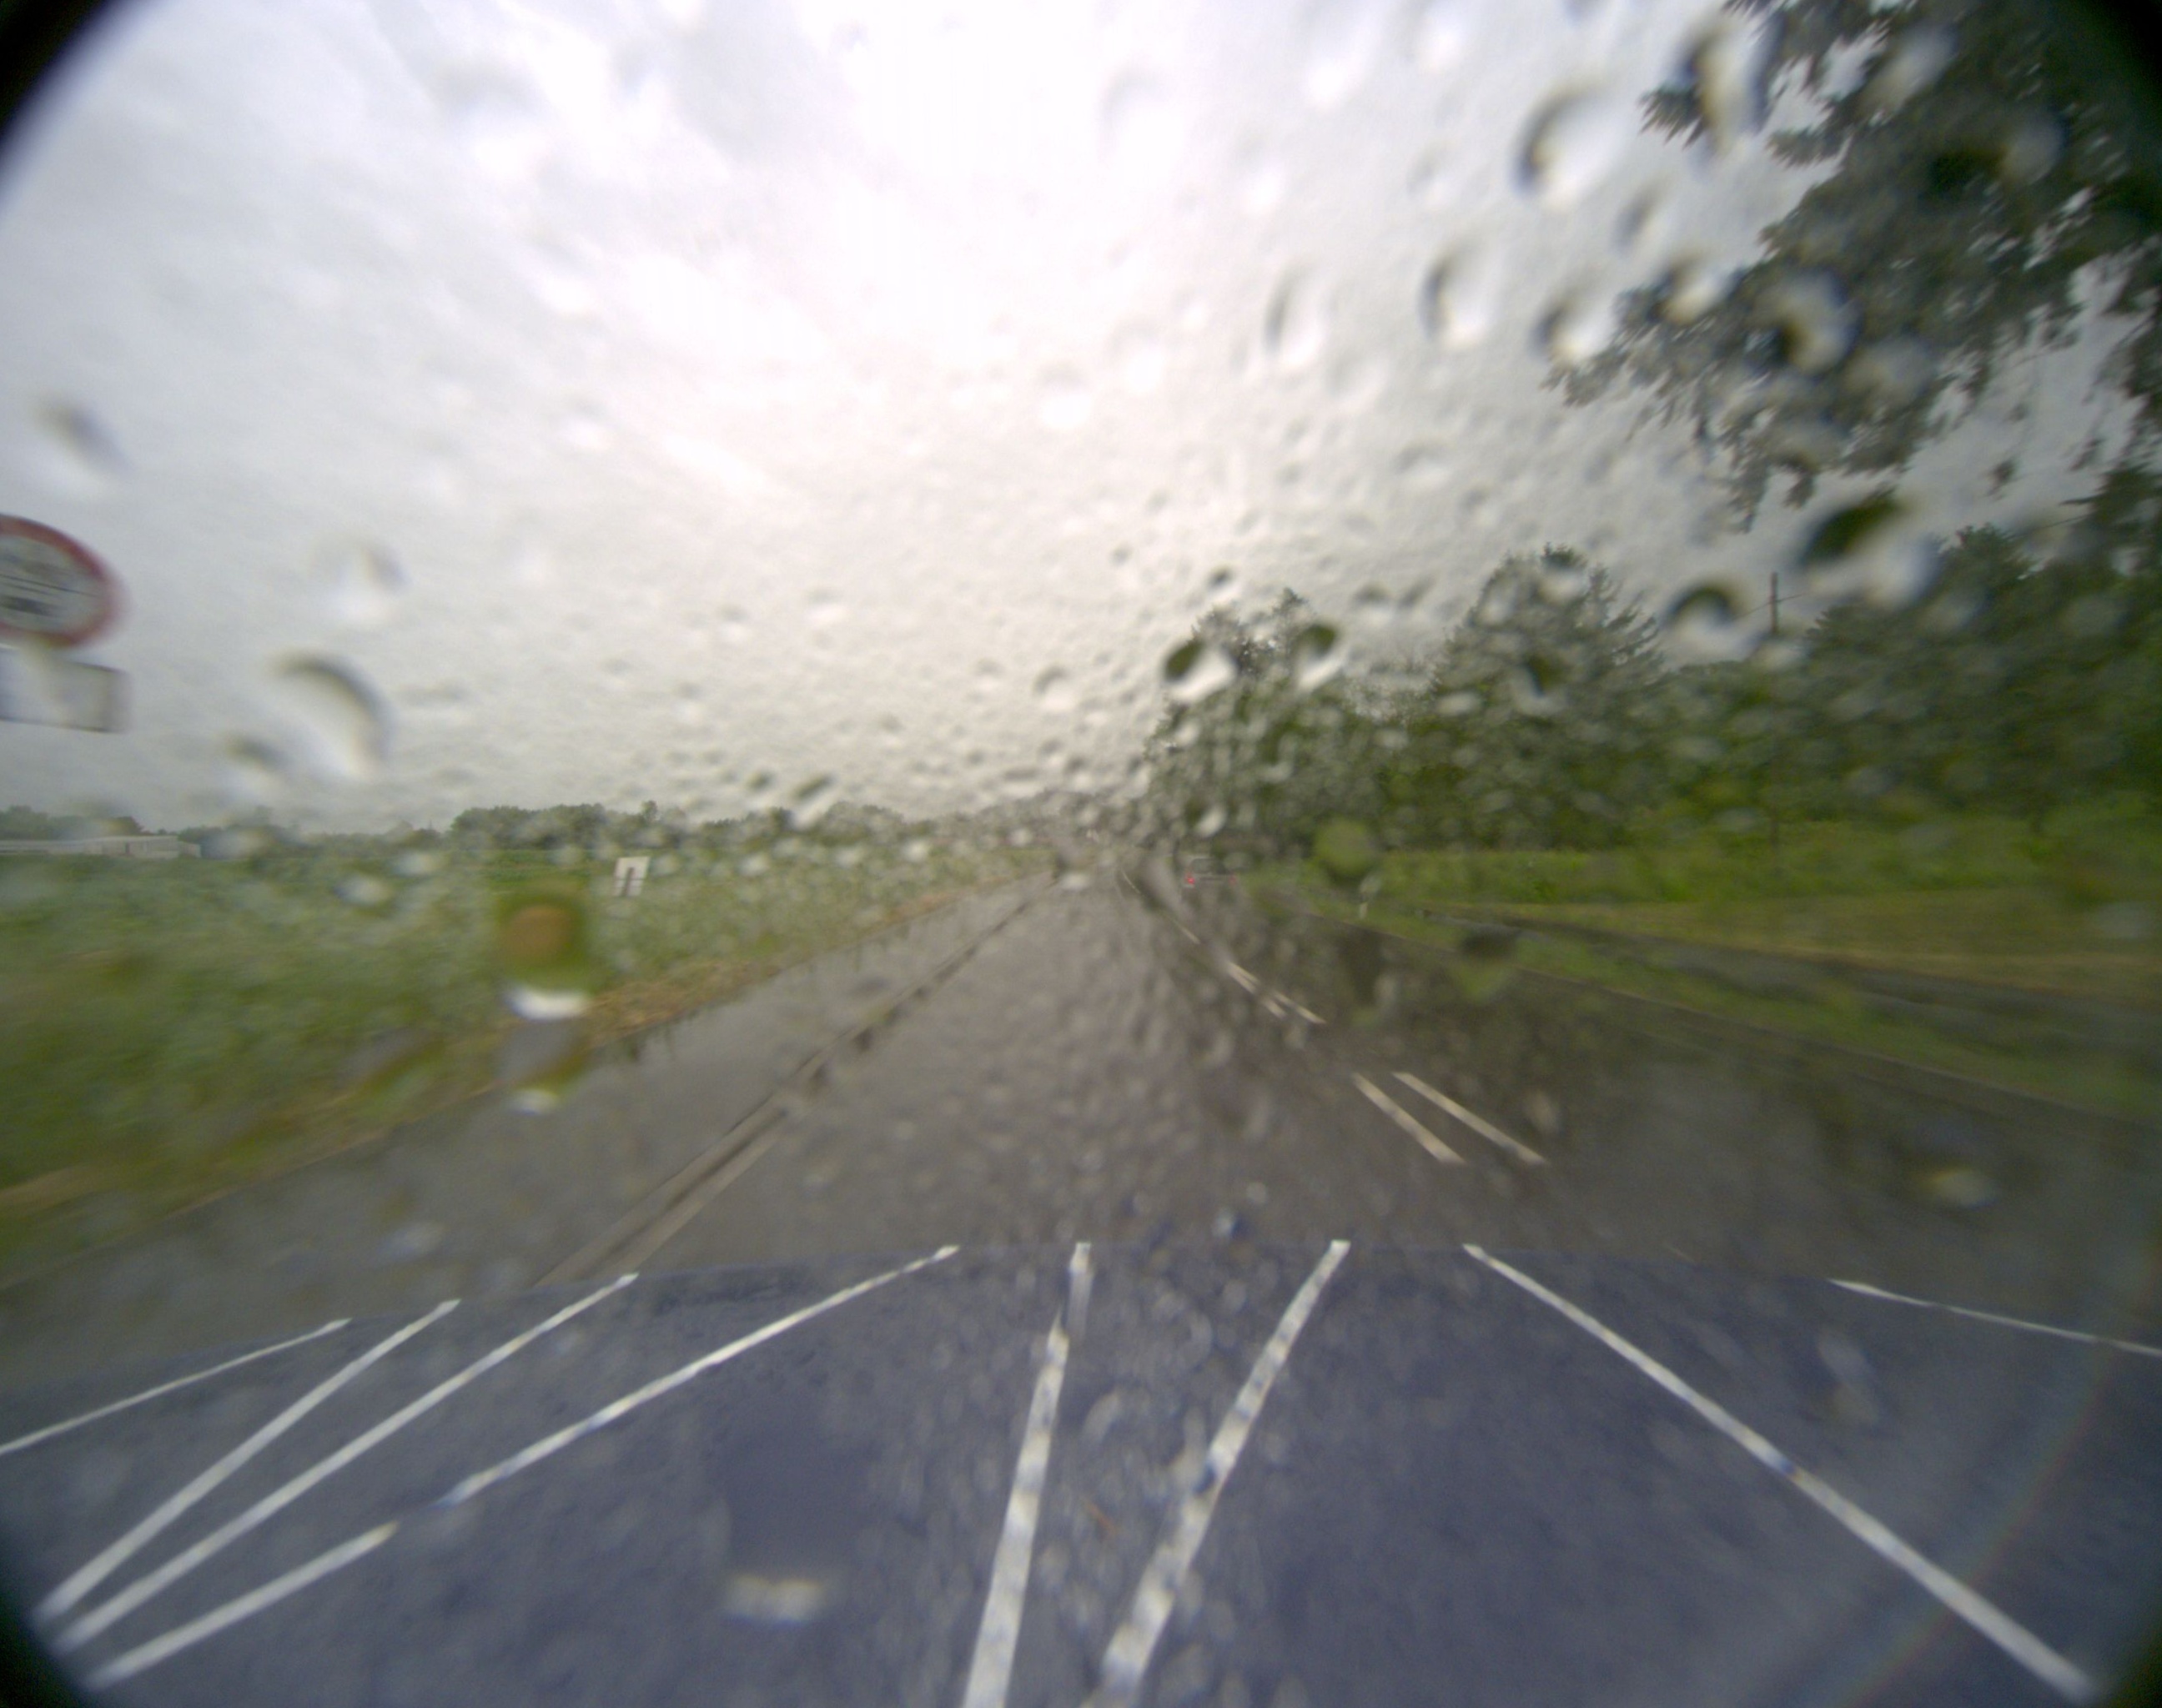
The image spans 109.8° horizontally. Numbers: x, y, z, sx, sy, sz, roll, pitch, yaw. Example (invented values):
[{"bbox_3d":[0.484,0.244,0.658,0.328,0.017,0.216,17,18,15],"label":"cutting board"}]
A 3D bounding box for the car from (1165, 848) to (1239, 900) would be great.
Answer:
[{"bbox_3d":[3.839,0.644,24.757,1.765,1.543,4.001,0,-1,0],"label":"car"}]
